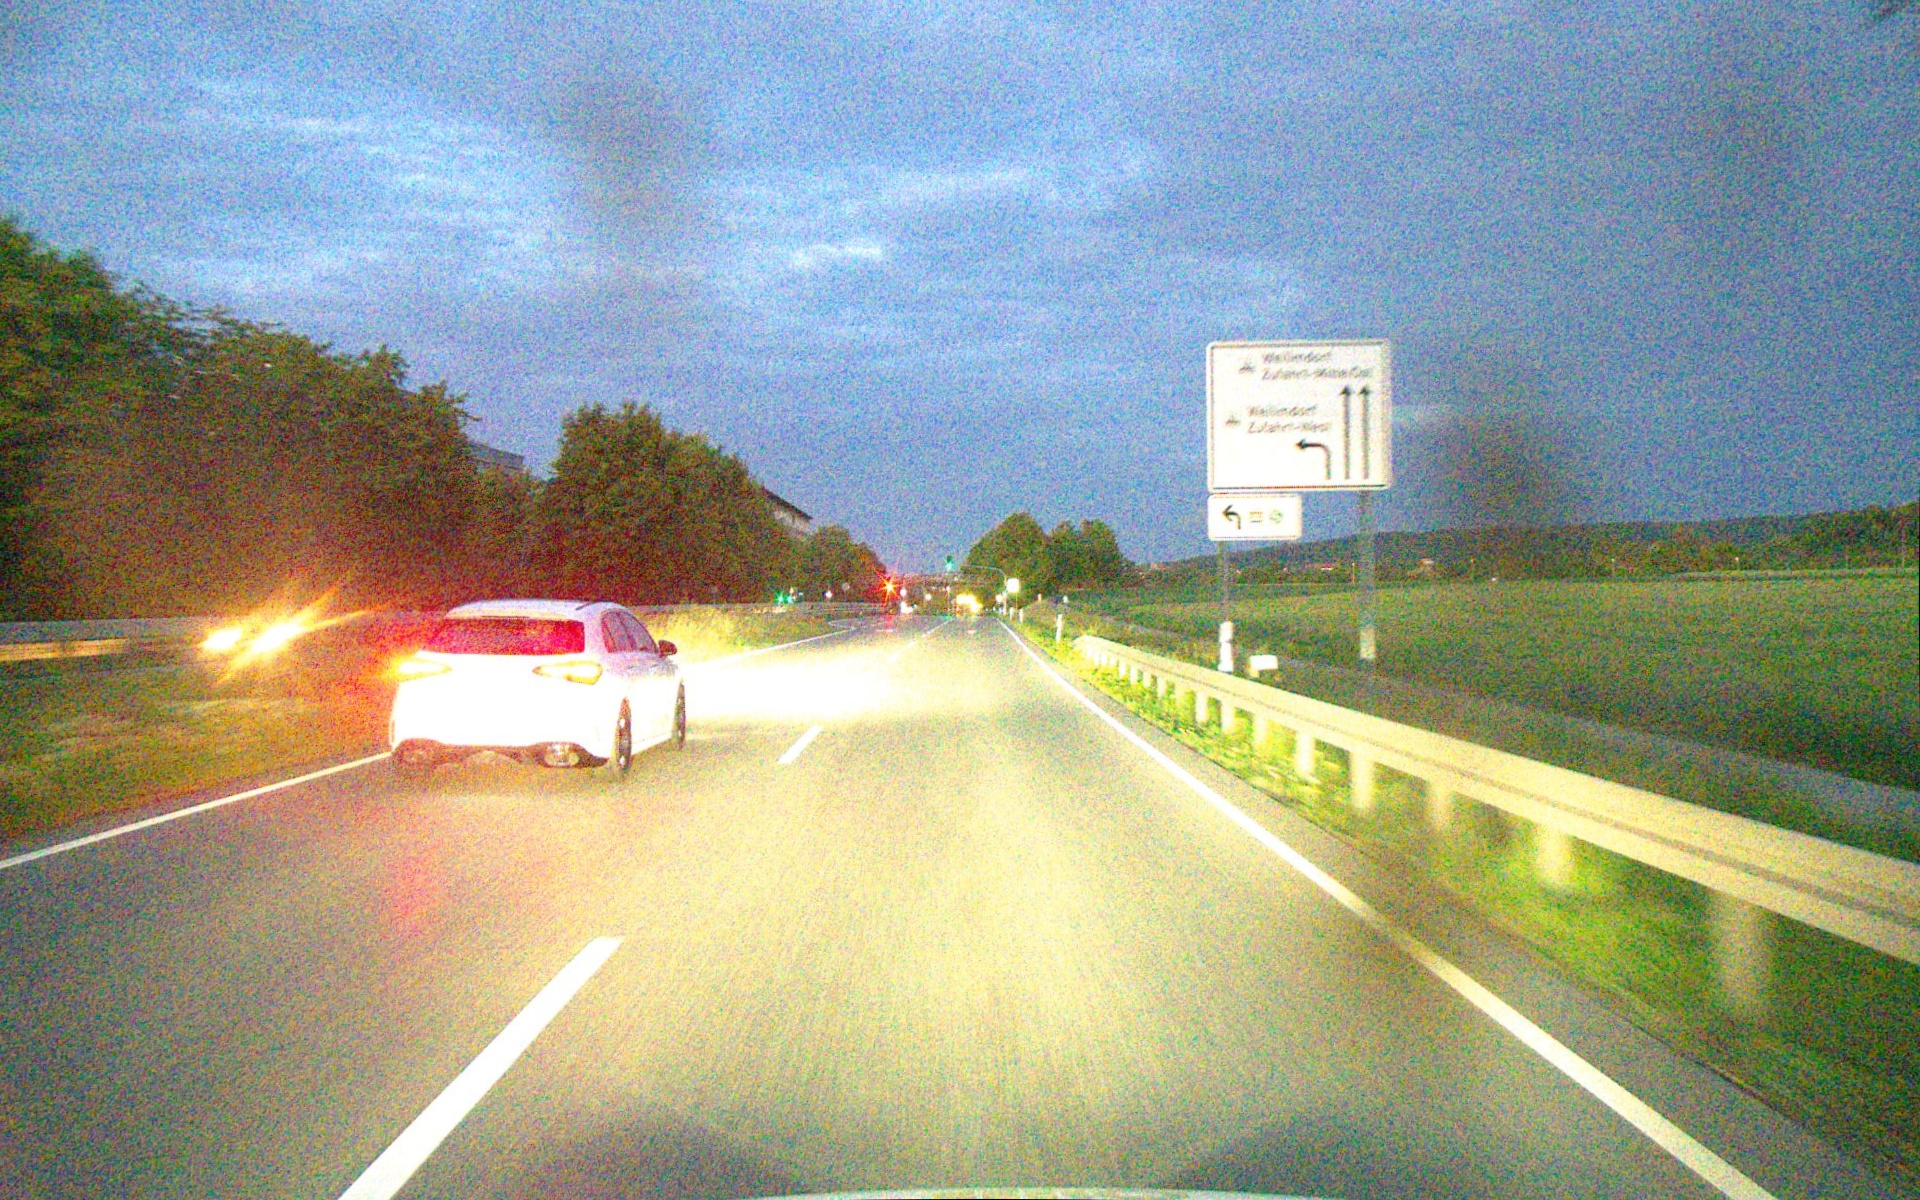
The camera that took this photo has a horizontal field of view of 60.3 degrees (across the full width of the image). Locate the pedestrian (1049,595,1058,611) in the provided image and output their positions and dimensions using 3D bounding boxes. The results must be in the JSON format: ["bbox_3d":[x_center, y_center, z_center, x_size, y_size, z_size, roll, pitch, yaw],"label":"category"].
[{"bbox_3d":[10.444,0.311,184.096,0.903,1.824,1.106,1,0,1],"label":"pedestrian"}]

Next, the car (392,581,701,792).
[{"bbox_3d":[-3.373,0.629,14.368,1.608,1.516,4.578,1,0,-1],"label":"car"}]

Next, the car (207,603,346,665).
[{"bbox_3d":[-15.915,0.759,38.724,1.596,1.346,3.940,1,0,0],"label":"car"}]

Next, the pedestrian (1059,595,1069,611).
[{"bbox_3d":[11.561,0.331,184.086,1.068,1.753,1.260,1,-1,0],"label":"pedestrian"}]
